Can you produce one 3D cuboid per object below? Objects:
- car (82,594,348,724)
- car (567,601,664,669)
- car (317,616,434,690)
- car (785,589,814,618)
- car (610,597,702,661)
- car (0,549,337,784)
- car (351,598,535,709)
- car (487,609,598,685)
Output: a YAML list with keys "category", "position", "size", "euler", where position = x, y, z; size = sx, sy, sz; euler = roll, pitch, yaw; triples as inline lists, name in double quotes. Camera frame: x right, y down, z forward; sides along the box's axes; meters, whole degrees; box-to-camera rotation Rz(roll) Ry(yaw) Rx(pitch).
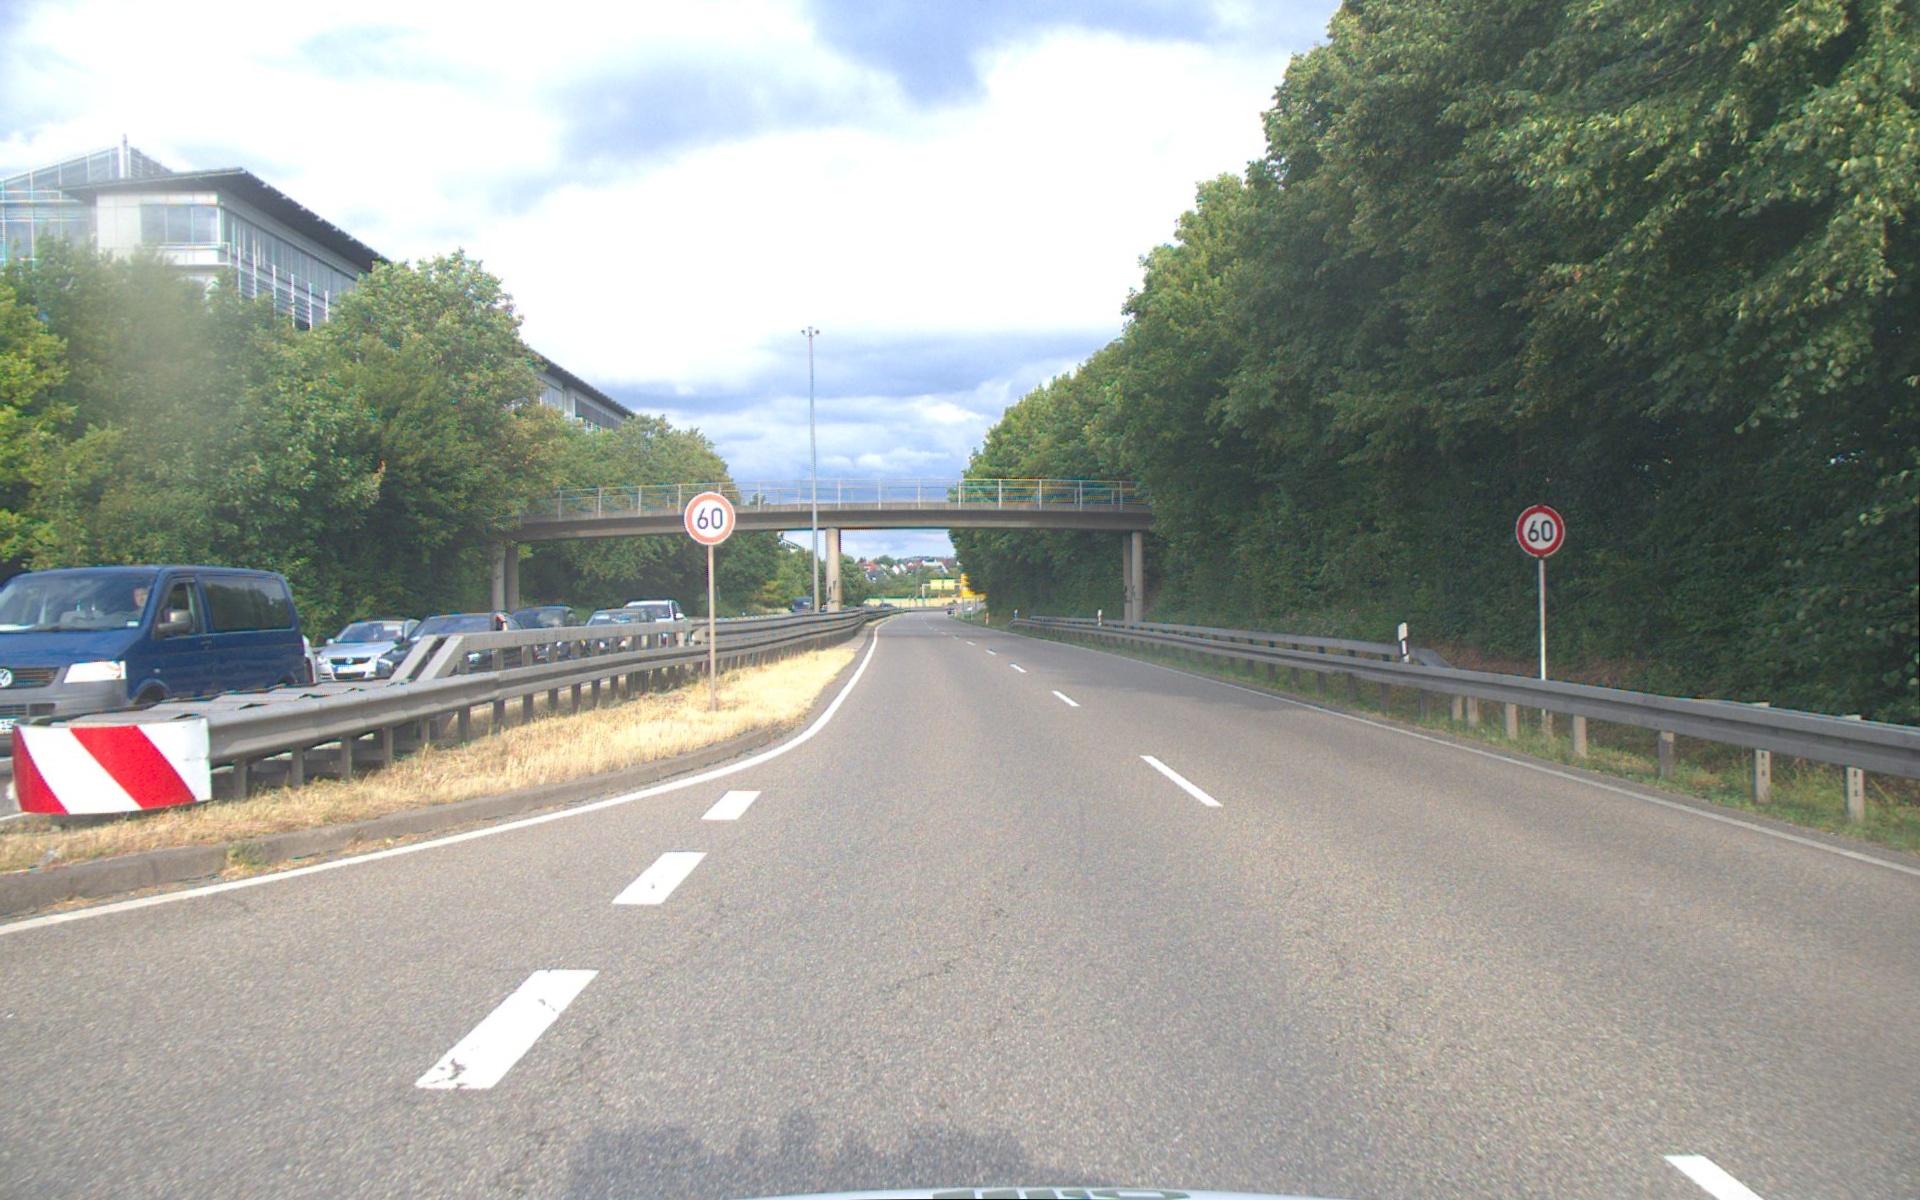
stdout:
- category: "car"
  position: [-11.682, 0.854, 26.369]
  size: [1.993, 1.780, 4.845]
  euler: [-3, 0, 0]
- category: "car"
  position: [-8.353, 0.818, 40.357]
  size: [1.683, 1.492, 3.733]
  euler: [-1, 1, -2]
- category: "car"
  position: [-12.033, 1.058, 34.222]
  size: [1.401, 1.377, 3.308]
  euler: [-1, 0, -4]
- category: "car"
  position: [-15.400, 0.338, 158.941]
  size: [2.205, 2.580, 6.938]
  euler: [-4, 0, -2]
- category: "car"
  position: [-8.702, 0.796, 47.674]
  size: [1.786, 1.612, 4.789]
  euler: [-4, 0, -2]
- category: "car"
  position: [-8.249, 0.610, 16.753]
  size: [1.860, 1.950, 5.050]
  euler: [-4, 0, 0]
- category: "car"
  position: [-8.405, 0.819, 27.313]
  size: [1.678, 1.617, 4.552]
  euler: [-2, 0, -2]
- category: "car"
  position: [-8.879, 0.961, 35.417]
  size: [1.525, 1.384, 3.462]
  euler: [-3, 1, -2]
